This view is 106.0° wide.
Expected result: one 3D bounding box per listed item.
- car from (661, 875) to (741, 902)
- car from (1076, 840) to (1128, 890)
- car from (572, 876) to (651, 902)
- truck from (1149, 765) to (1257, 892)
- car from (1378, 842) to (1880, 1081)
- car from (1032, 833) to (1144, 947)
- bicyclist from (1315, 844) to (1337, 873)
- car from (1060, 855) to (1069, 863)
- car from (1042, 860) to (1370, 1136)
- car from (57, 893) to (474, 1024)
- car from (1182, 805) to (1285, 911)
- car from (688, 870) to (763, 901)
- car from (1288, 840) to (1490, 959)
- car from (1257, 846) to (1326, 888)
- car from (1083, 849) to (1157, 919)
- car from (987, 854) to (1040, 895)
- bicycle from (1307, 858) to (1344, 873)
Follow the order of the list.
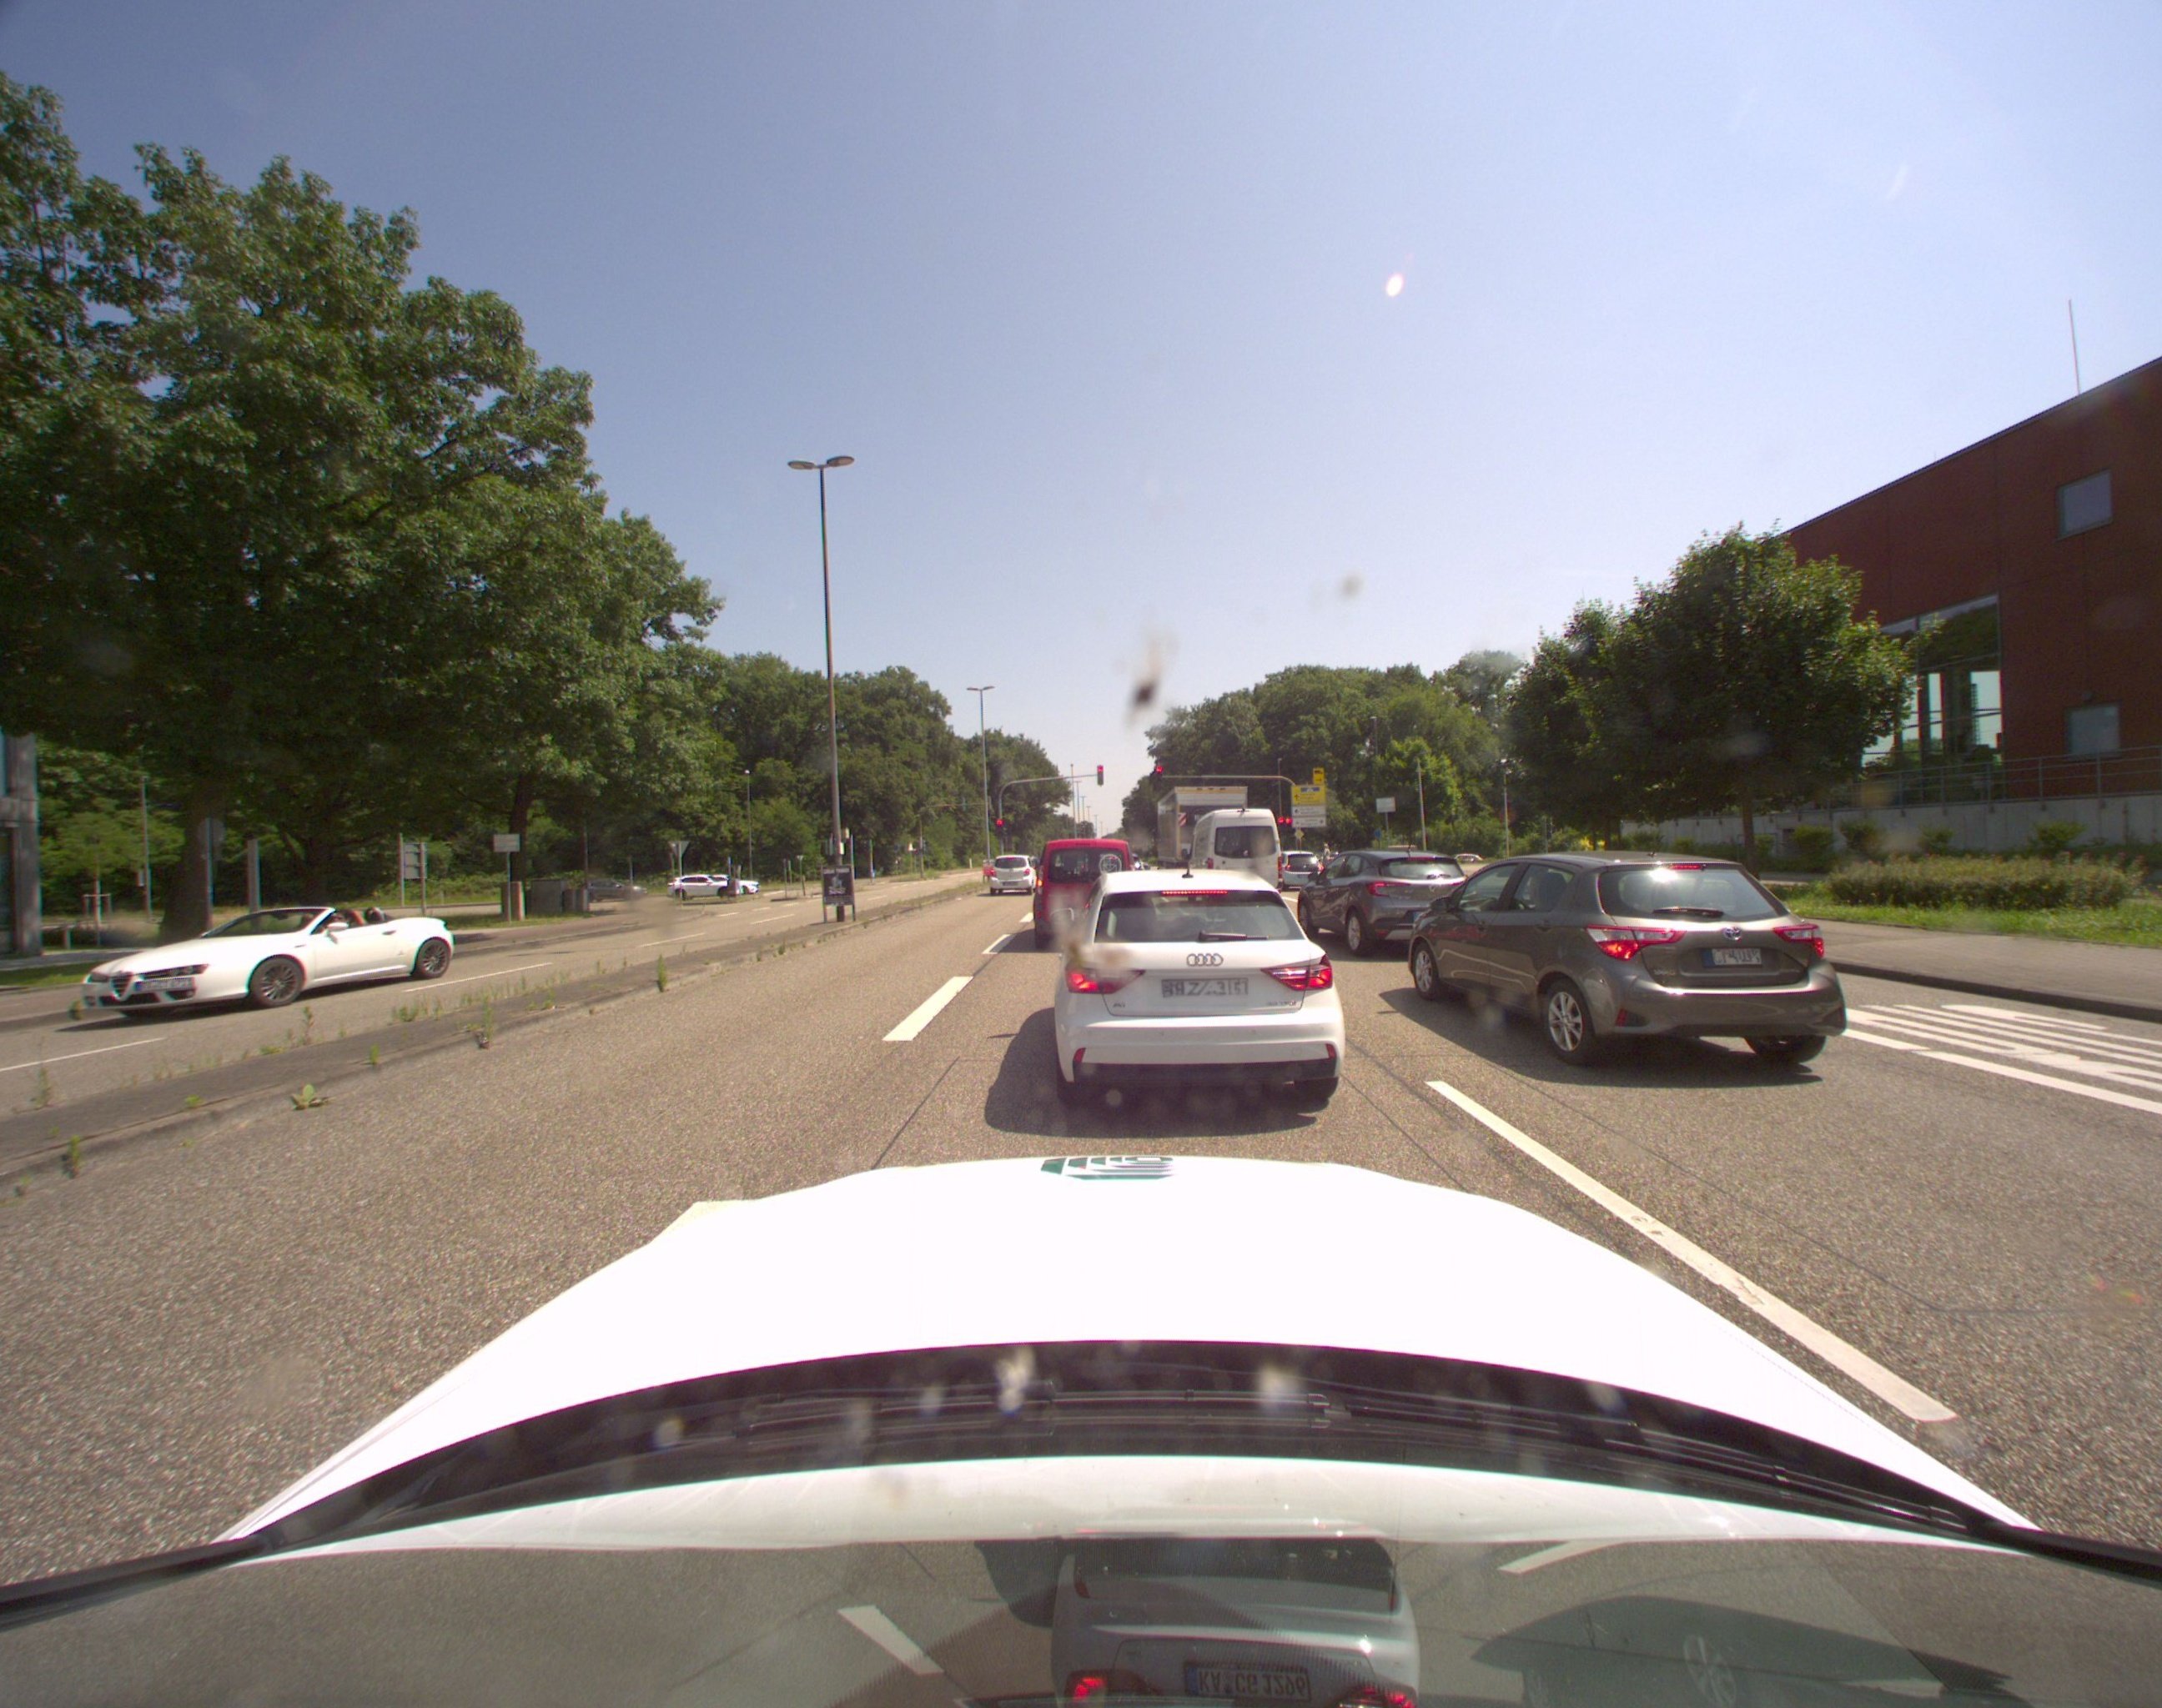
[{"bbox_3d":[-24.860,2.260,53.427,4.366,1.681,1.806,0,-1,-7],"label":"car"},{"bbox_3d":[0.697,0.367,28.940,1.706,1.631,4.091,-1,0,0],"label":"car"},{"bbox_3d":[-32.571,2.410,56.614,4.370,1.681,1.804,0,-1,-10],"label":"car"},{"bbox_3d":[4.779,-0.905,34.431,3.077,4.434,11.584,-1,0,2],"label":"truck"},{"bbox_3d":[4.243,0.685,7.232,1.706,1.478,4.091,1,0,0],"label":"car"},{"bbox_3d":[0.120,0.562,14.721,1.706,1.748,4.091,-1,0,0],"label":"car"},{"bbox_3d":[12.812,0.243,42.582,0.603,1.439,0.819,-2,0,-44],"label":"bicyclist"},{"bbox_3d":[-3.917,1.136,196.052,1.987,1.772,4.205,-2,0,1],"label":"car"},{"bbox_3d":[0.664,0.768,6.335,1.706,1.386,4.091,-1,0,0],"label":"car"},{"bbox_3d":[-11.539,1.378,12.067,1.712,1.262,4.302,-4,0,1],"label":"car"},{"bbox_3d":[4.155,0.103,23.050,2.024,2.644,4.845,-1,0,1],"label":"car"},{"bbox_3d":[-24.947,2.167,57.251,4.367,1.681,1.806,-6,0,-7],"label":"car"},{"bbox_3d":[4.735,0.624,13.198,1.706,1.593,4.091,-1,0,0],"label":"car"},{"bbox_3d":[8.335,0.494,32.608,1.706,1.546,4.091,-1,0,0],"label":"car"},{"bbox_3d":[0.931,0.704,21.238,1.706,1.631,4.091,-1,0,0],"label":"car"},{"bbox_3d":[-2.605,0.772,32.329,1.706,1.493,4.091,-1,0,0],"label":"car"},{"bbox_3d":[12.794,0.605,42.624,0.604,0.766,1.805,-2,0,-43],"label":"bicycle"}]
